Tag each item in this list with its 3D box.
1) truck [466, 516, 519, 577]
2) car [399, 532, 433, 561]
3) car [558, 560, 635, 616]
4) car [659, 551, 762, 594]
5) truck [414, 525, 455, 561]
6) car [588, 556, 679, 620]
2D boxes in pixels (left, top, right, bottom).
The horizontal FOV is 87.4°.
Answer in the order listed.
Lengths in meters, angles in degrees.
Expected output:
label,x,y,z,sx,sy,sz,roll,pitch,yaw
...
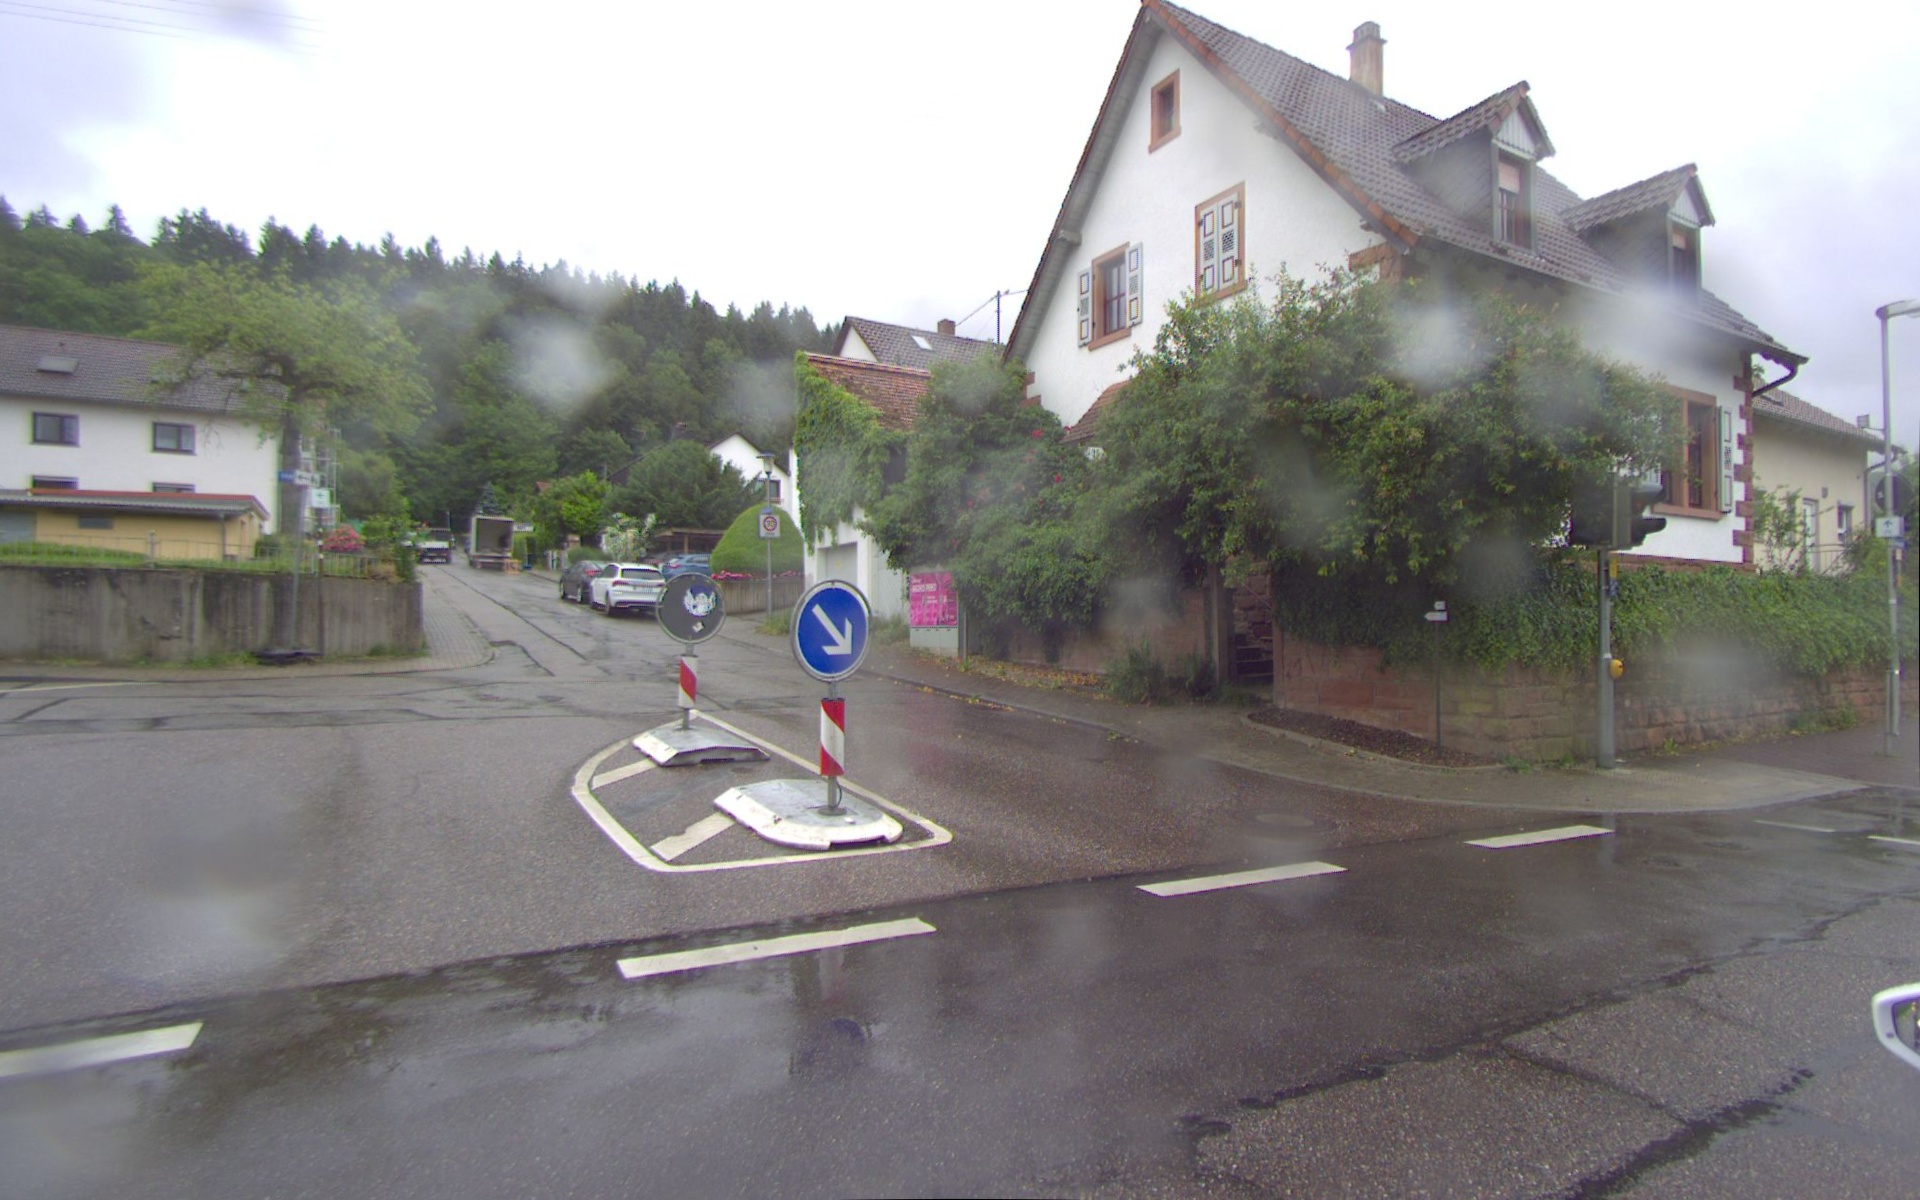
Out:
label,x,y,z,sx,sy,sz,roll,pitch,yaw
truck,-28.439,-3.163,60.985,2.424,3.397,6.606,2,1,-29
car,-41.761,-4.069,77.092,1.896,2.040,3.963,2,1,-33
car,-12.682,-0.452,34.924,1.878,1.535,3.860,2,5,-29
car,-10.611,-1.158,42.725,3.846,1.535,1.884,2,5,-31
truck,-34.752,-3.740,66.511,2.271,2.155,6.036,2,1,-27
car,-9.986,-0.397,30.516,1.878,1.535,3.860,2,5,-29
